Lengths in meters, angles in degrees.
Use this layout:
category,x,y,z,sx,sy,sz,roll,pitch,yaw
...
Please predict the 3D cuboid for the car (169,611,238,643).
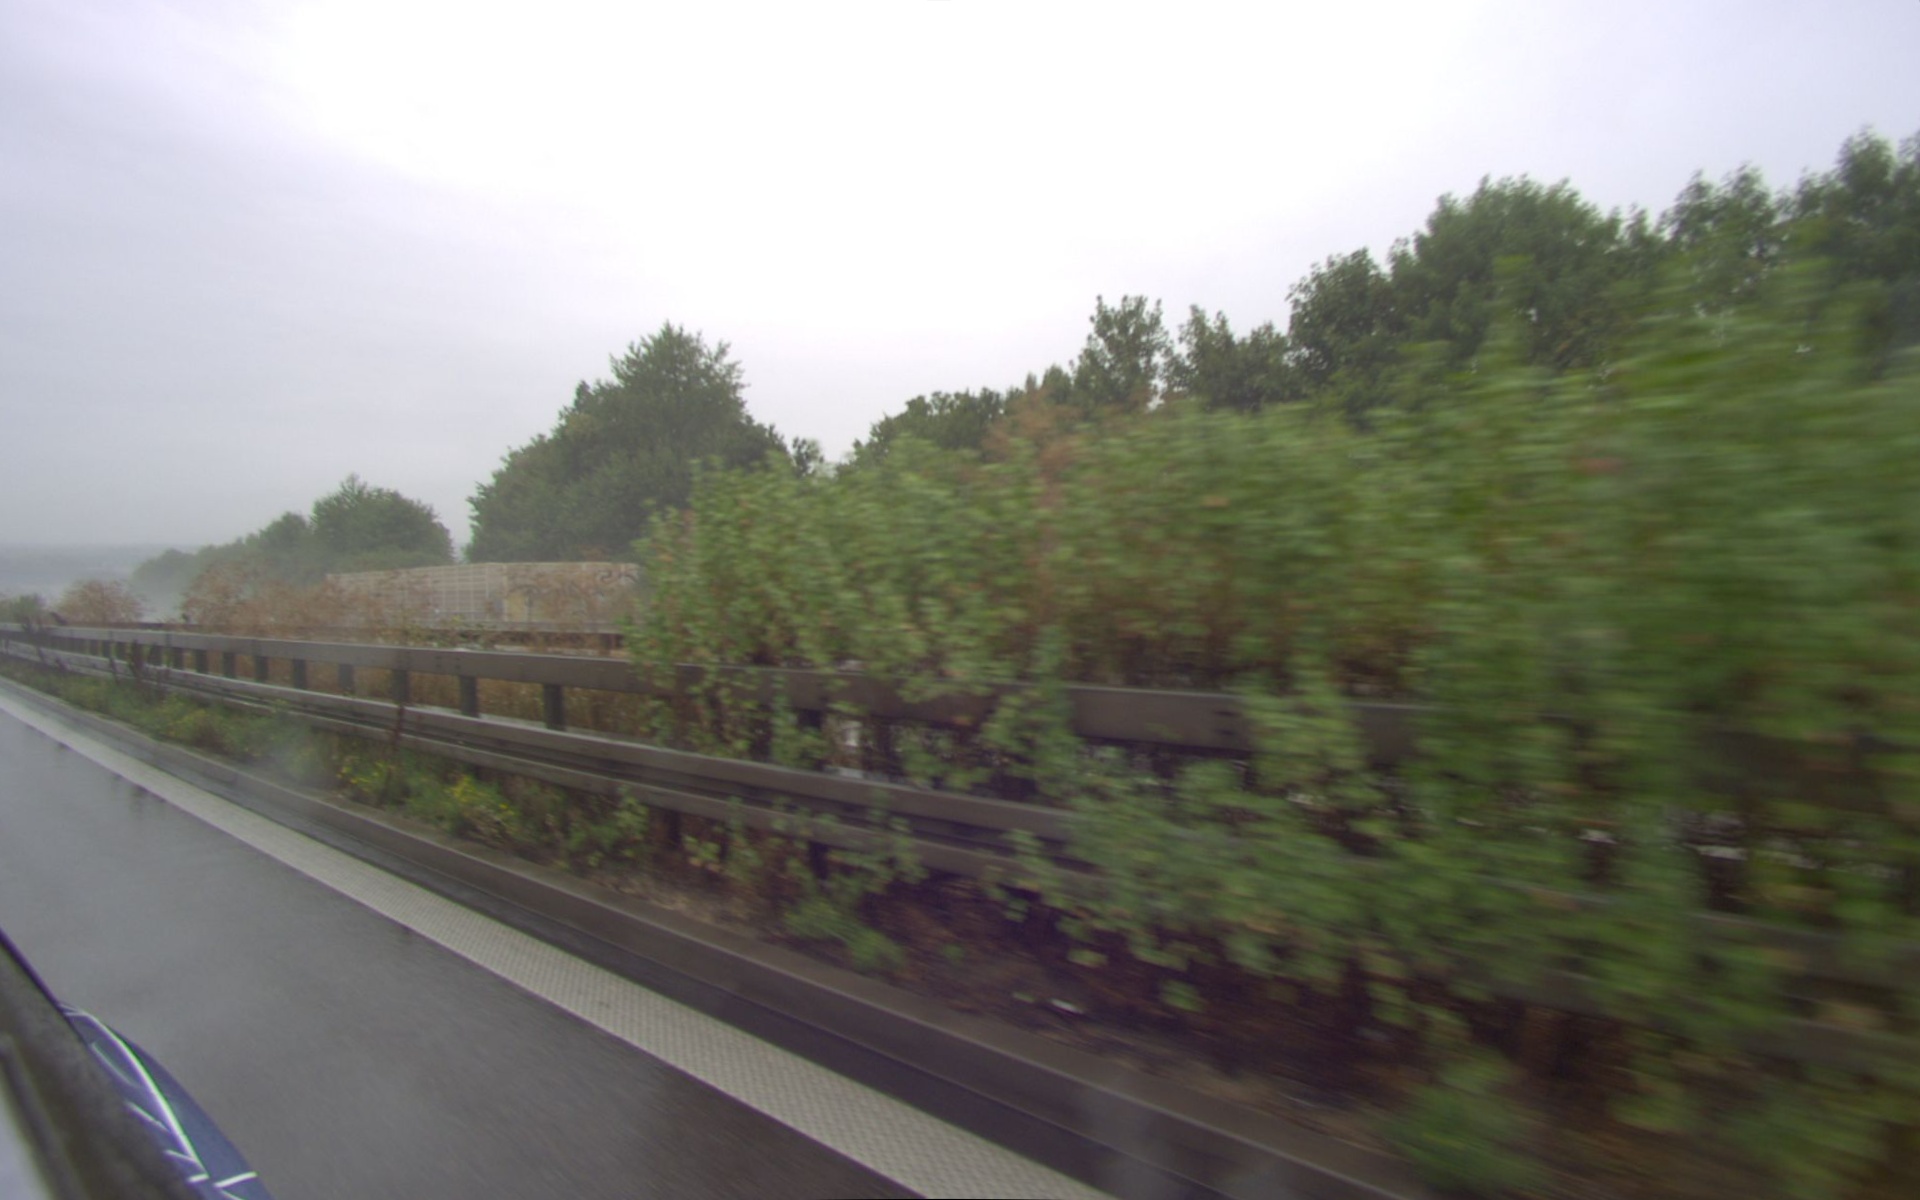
category,x,y,z,sx,sy,sz,roll,pitch,yaw
car,-37.738,1.316,50.455,3.999,1.475,1.972,-1,0,42
